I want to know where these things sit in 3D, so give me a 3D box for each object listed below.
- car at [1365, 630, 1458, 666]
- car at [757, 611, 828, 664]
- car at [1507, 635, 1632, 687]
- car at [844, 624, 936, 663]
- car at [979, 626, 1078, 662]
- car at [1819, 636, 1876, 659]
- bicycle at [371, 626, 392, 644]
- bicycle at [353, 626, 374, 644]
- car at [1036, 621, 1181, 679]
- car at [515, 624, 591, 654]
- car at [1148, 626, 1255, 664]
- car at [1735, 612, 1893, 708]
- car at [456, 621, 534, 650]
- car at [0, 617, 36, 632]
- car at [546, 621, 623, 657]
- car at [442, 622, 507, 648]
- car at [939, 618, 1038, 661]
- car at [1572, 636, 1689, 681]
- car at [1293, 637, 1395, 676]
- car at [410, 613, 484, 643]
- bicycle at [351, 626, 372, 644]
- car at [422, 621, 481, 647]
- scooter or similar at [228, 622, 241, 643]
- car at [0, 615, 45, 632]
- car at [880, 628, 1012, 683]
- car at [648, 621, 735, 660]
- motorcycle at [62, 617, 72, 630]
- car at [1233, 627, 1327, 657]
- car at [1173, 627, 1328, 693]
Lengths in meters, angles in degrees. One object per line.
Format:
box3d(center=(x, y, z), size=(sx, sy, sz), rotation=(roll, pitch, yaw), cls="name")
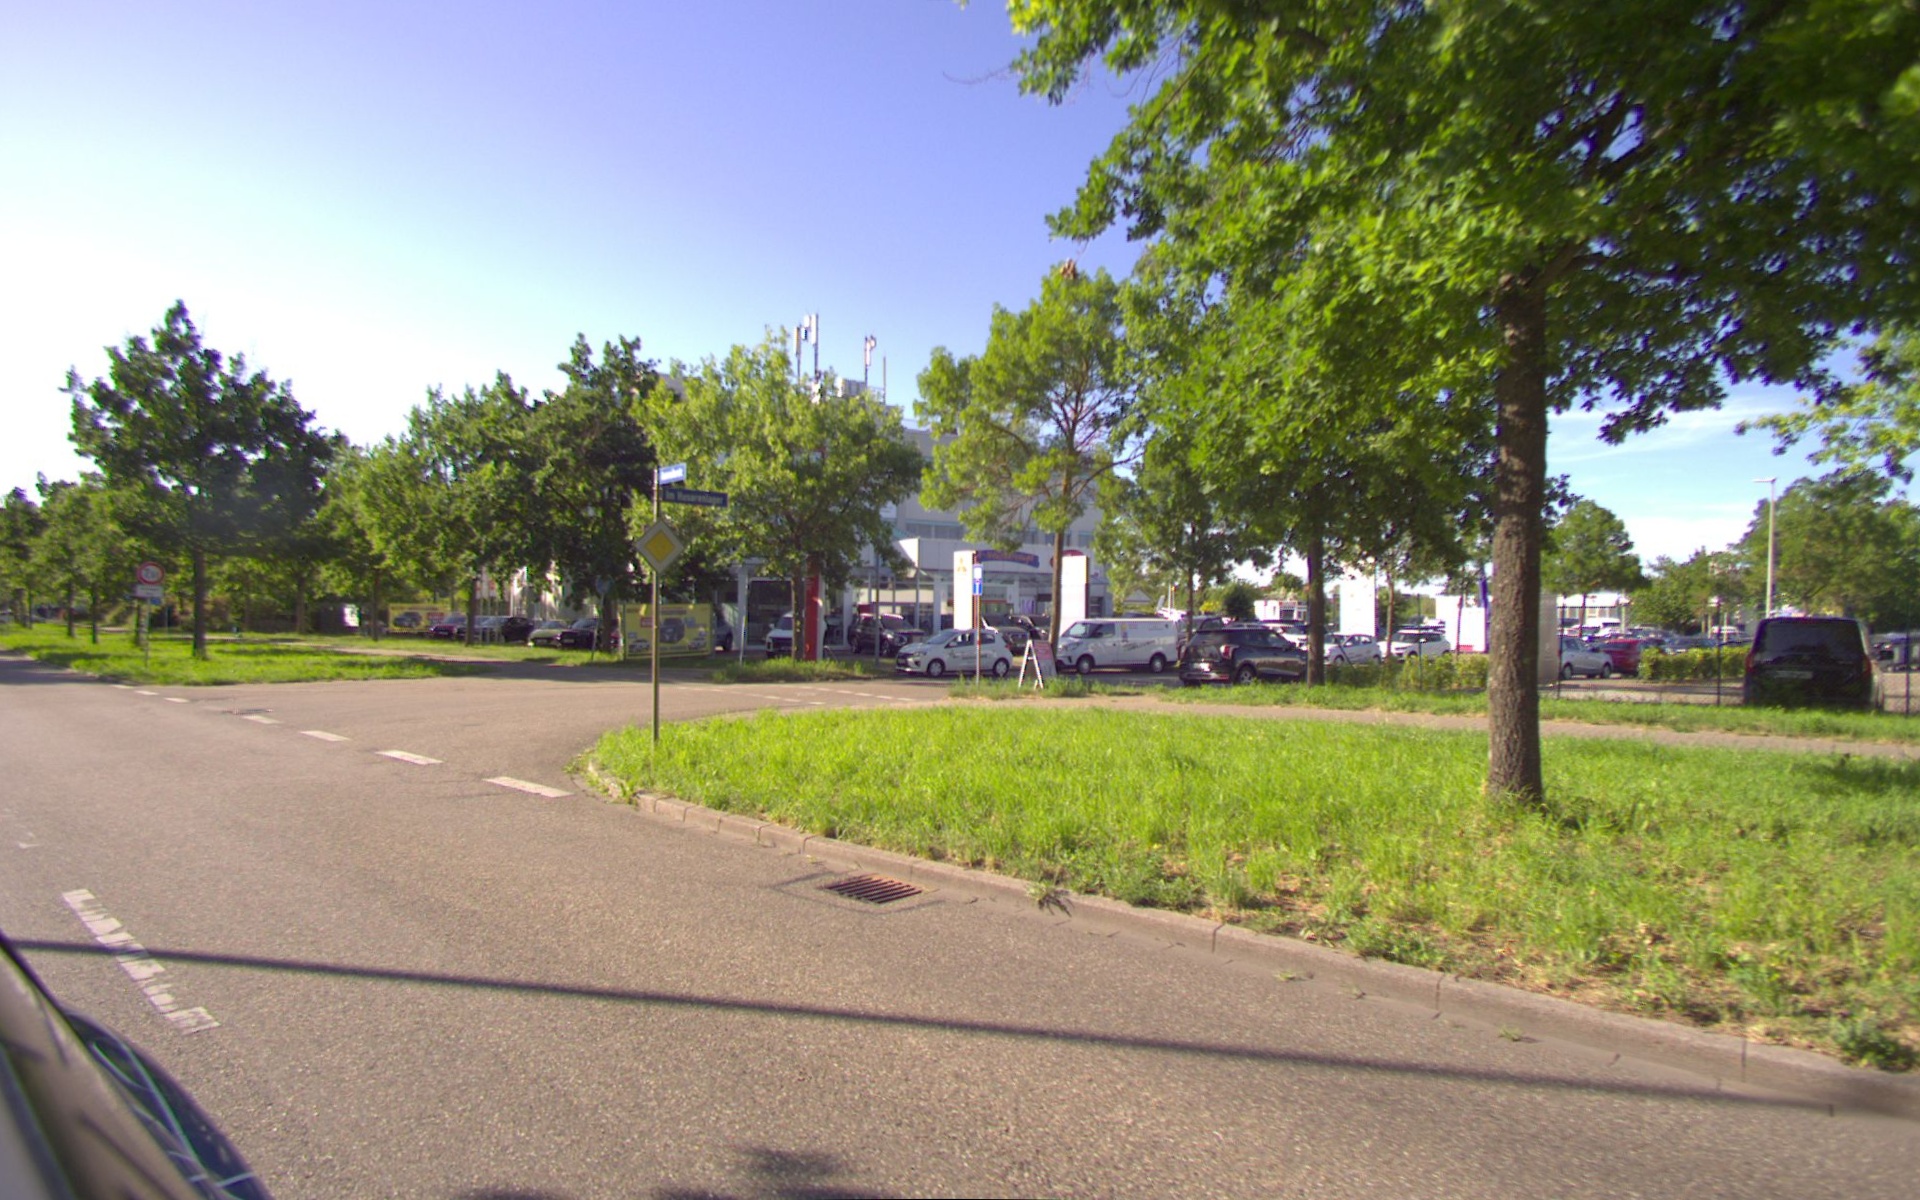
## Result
box3d(center=(20.255, 2.134, 45.401), size=(3.931, 1.523, 1.807), rotation=(0, -2, -29), cls="car")
box3d(center=(-6.762, 1.490, 41.376), size=(1.973, 2.029, 4.855), rotation=(0, -1, 2), cls="car")
box3d(center=(20.631, 2.026, 34.255), size=(3.930, 1.588, 1.807), rotation=(0, -2, -27), cls="car")
box3d(center=(-3.030, 1.810, 42.896), size=(1.967, 1.583, 4.180), rotation=(1, -2, -36), cls="car")
box3d(center=(3.142, 2.011, 47.405), size=(1.967, 1.574, 4.883), rotation=(1, -2, -36), cls="car")
box3d(center=(63.516, 3.397, 72.410), size=(3.931, 1.523, 1.807), rotation=(0, -2, -29), cls="car")
box3d(center=(-36.761, 2.226, 64.350), size=(1.891, 1.096, 0.632), rotation=(-1, -2, 44), cls="bicycle")
box3d(center=(-37.658, 2.204, 63.848), size=(1.891, 1.096, 0.632), rotation=(-1, -2, 44), cls="bicycle")
box3d(center=(5.272, 1.732, 35.757), size=(4.940, 1.921, 1.947), rotation=(1, -2, -30), cls="car")
box3d(center=(-19.609, 1.862, 48.971), size=(1.973, 1.412, 3.951), rotation=(0, -1, 2), cls="car")
box3d(center=(10.644, 1.963, 44.434), size=(4.792, 1.574, 2.004), rotation=(1, -2, -38), cls="car")
box3d(center=(15.159, 0.995, 18.122), size=(1.939, 1.490, 4.456), rotation=(-1, -2, 39), cls="car")
box3d(center=(-25.585, 1.943, 55.824), size=(1.784, 1.523, 3.981), rotation=(-1, -2, 14), cls="car")
box3d(center=(-109.376, 2.843, 116.496), size=(4.359, 1.568, 2.090), rotation=(-1, 0, -43), cls="car")
box3d(center=(-17.204, 1.775, 46.529), size=(1.871, 1.550, 4.167), rotation=(0, -1, 2), cls="car")
box3d(center=(-27.845, 2.003, 58.180), size=(1.776, 1.459, 3.998), rotation=(0, -1, 1), cls="car")
box3d(center=(1.206, 1.743, 45.859), size=(1.967, 1.826, 4.884), rotation=(1, -2, -35), cls="car")
box3d(center=(24.292, 2.081, 36.642), size=(3.930, 1.523, 1.807), rotation=(0, -2, -27), cls="car")
box3d(center=(16.207, 2.335, 42.676), size=(3.930, 1.523, 1.807), rotation=(0, -2, -27), cls="car")
box3d(center=(-33.018, 1.784, 65.144), size=(3.964, 1.797, 2.030), rotation=(-1, -1, -36), cls="car")
box3d(center=(-38.460, 2.231, 65.048), size=(1.891, 1.096, 0.632), rotation=(-1, -2, 44), cls="bicycle")
box3d(center=(-30.448, 2.023, 60.732), size=(1.774, 1.459, 4.003), rotation=(0, -1, -4), cls="car")
box3d(center=(-43.434, 1.936, 60.599), size=(1.442, 1.289, 0.390), rotation=(-1, -2, 45), cls="scooter or similar")
box3d(center=(-94.858, 2.346, 101.329), size=(2.191, 1.570, 4.577), rotation=(-2, -1, 42), cls="car")
box3d(center=(-0.420, 1.702, 31.882), size=(3.691, 1.630, 1.969), rotation=(1, -2, -33), cls="car")
box3d(center=(-11.475, 1.716, 43.532), size=(1.979, 1.574, 4.154), rotation=(0, -2, 12), cls="car")
box3d(center=(-105.672, 2.757, 119.775), size=(0.729, 1.443, 1.993), rotation=(-3, 1, -43), cls="motorcycle")
box3d(center=(18.047, 2.331, 57.285), size=(1.967, 1.574, 4.883), rotation=(1, -2, -36), cls="car")
box3d(center=(7.320, 1.461, 25.465), size=(3.619, 1.544, 1.827), rotation=(1, -2, -33), cls="car")
